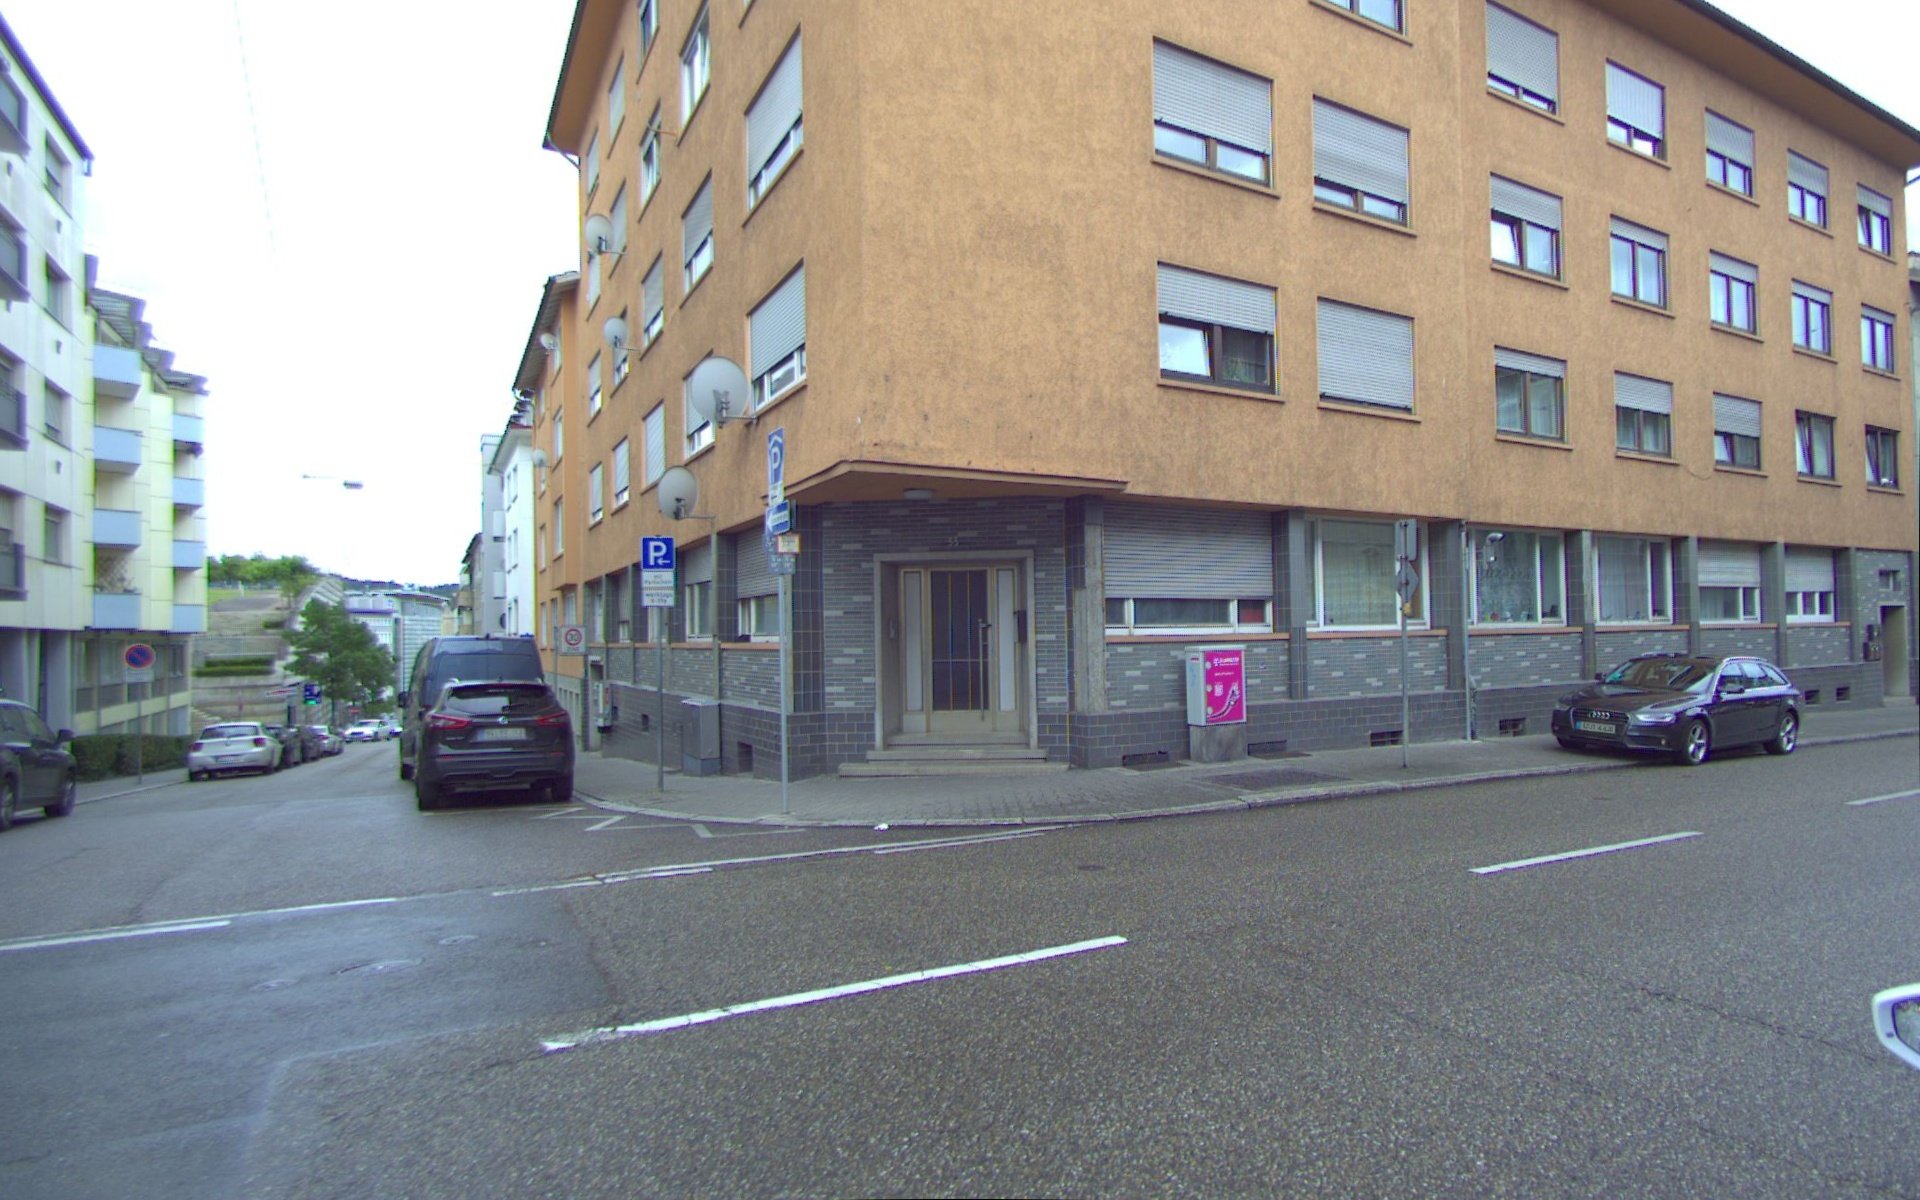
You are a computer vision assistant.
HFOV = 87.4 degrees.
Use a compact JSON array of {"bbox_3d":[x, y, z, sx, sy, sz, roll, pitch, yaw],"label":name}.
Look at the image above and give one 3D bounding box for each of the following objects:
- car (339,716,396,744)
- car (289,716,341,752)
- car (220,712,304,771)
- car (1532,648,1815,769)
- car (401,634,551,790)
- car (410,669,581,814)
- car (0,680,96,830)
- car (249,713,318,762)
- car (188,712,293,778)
[{"bbox_3d":[-38.848,8.531,65.965,1.897,1.696,4.050,-1,-6,-10],"label":"car"},{"bbox_3d":[-29.473,6.156,46.004,1.727,1.483,3.974,1,-8,-29],"label":"car"},{"bbox_3d":[-21.753,4.383,31.437,1.727,1.634,3.973,1,-7,-29],"label":"car"},{"bbox_3d":[10.732,1.509,15.030,4.474,1.457,1.786,1,0,-31],"label":"car"},{"bbox_3d":[-9.386,2.126,19.219,2.223,2.492,6.017,1,-7,-29],"label":"car"},{"bbox_3d":[-6.404,1.873,13.620,1.820,1.596,4.127,1,-7,-29],"label":"car"},{"bbox_3d":[-12.635,1.980,12.644,1.773,1.708,4.216,1,-7,-29],"label":"car"},{"bbox_3d":[-25.111,5.132,37.387,1.727,1.634,3.974,1,-8,-29],"label":"car"},{"bbox_3d":[-19.332,3.880,27.147,1.818,1.566,3.973,1,-7,-29],"label":"car"}]
